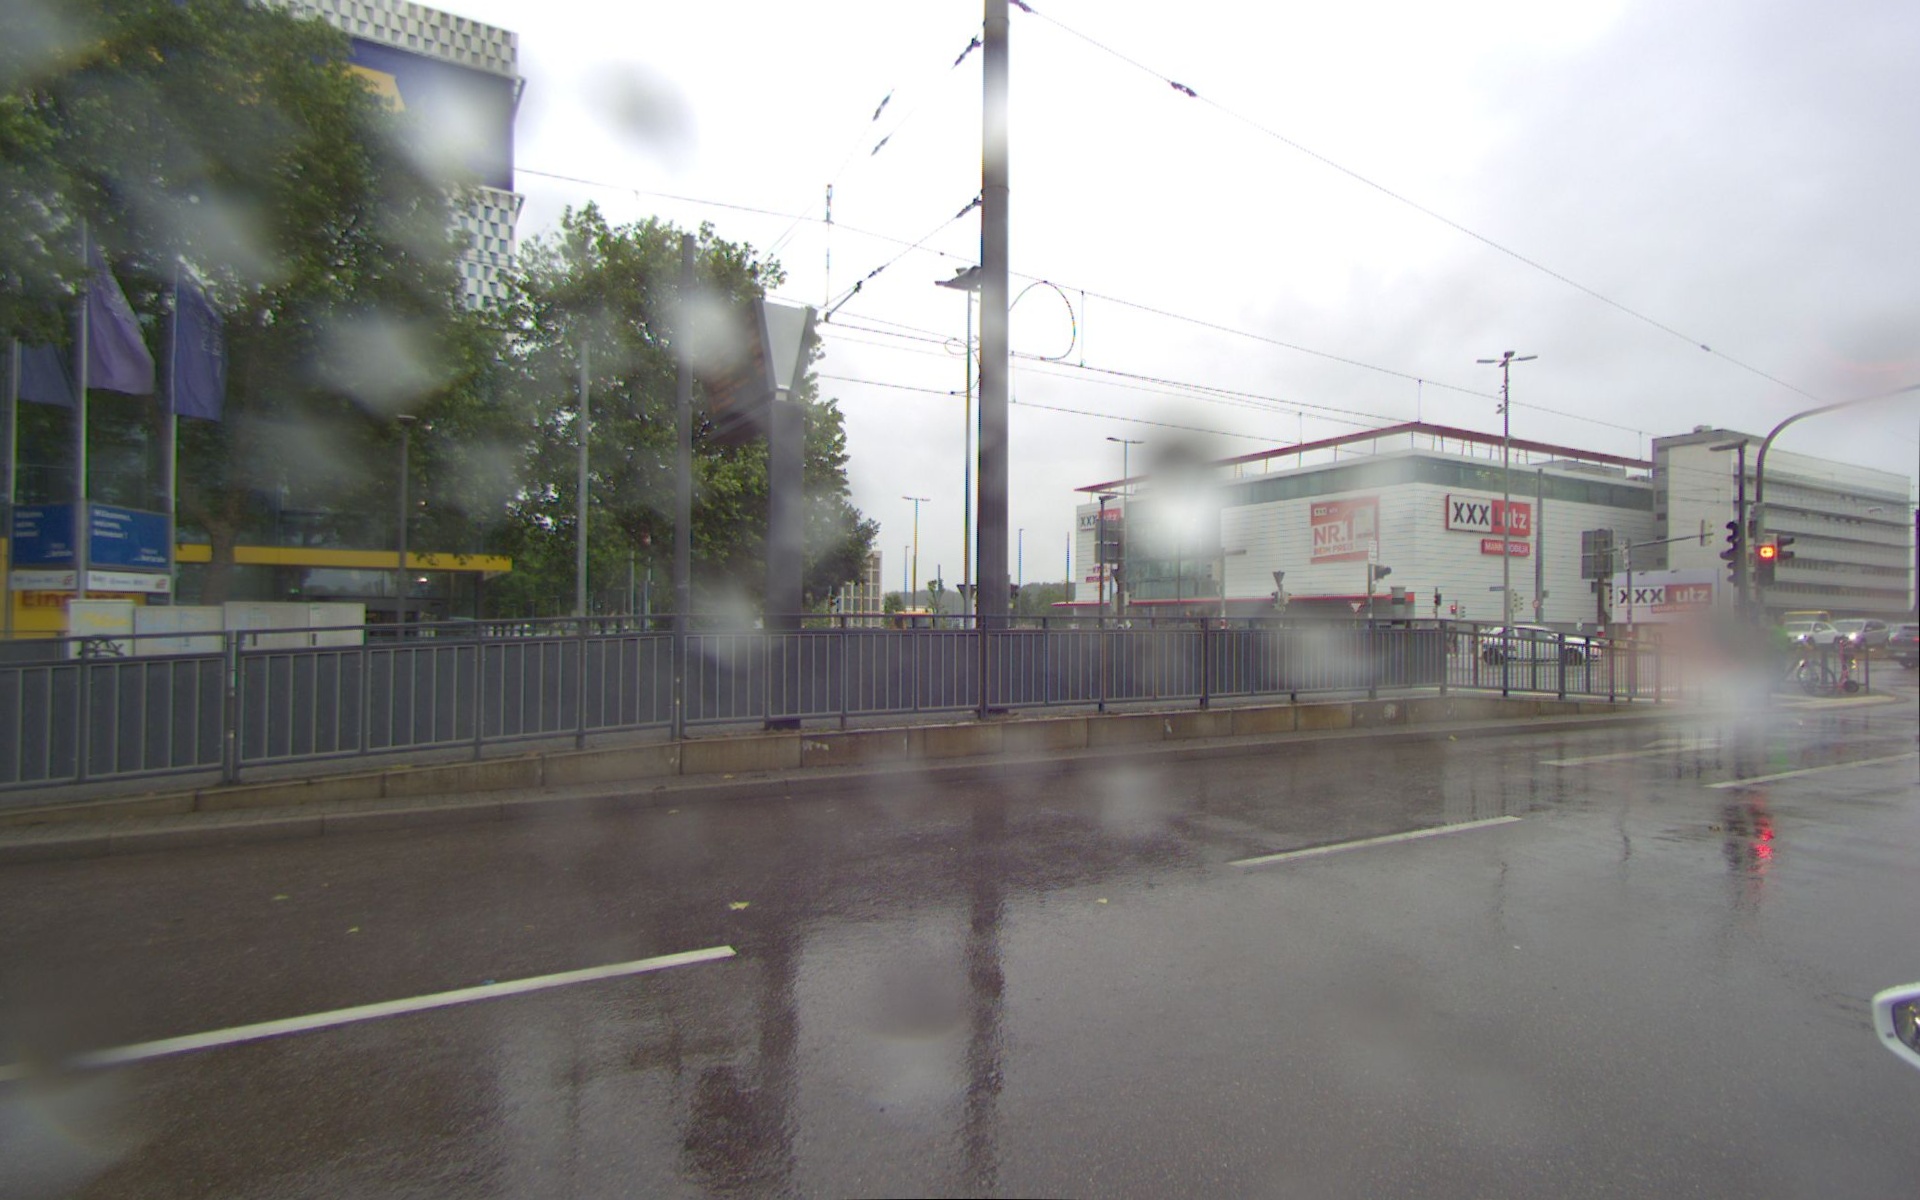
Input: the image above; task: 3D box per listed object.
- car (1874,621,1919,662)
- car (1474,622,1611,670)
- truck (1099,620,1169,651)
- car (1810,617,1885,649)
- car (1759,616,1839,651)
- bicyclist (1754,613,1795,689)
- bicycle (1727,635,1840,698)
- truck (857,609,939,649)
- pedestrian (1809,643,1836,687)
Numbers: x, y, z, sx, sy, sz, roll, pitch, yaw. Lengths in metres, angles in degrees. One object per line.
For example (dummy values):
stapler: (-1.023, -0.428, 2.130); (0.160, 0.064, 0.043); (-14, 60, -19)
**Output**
car: (30.982, 1.374, 31.230); (3.465, 1.223, 1.441); (3, 1, 13)
car: (20.817, 1.621, 35.957); (4.002, 1.394, 1.600); (3, 1, 40)
truck: (13.434, 2.724, 77.939); (1.990, 1.968, 5.847); (3, 1, -31)
car: (44.773, 1.671, 50.664); (3.765, 1.445, 1.702); (3, 1, -30)
car: (39.795, 1.591, 47.610); (3.765, 1.445, 1.702); (3, 1, -30)
bicyclist: (16.758, 1.039, 20.667); (0.596, 1.511, 0.597); (2, 1, 42)
bicycle: (16.831, 1.338, 20.559); (1.733, 1.153, 0.517); (2, 1, 42)
truck: (-4.382, 1.961, 69.141); (2.445, 2.240, 7.329); (3, 1, -31)
pedestrian: (18.473, 1.393, 21.506); (0.376, 0.909, 0.313); (1, 2, -32)
